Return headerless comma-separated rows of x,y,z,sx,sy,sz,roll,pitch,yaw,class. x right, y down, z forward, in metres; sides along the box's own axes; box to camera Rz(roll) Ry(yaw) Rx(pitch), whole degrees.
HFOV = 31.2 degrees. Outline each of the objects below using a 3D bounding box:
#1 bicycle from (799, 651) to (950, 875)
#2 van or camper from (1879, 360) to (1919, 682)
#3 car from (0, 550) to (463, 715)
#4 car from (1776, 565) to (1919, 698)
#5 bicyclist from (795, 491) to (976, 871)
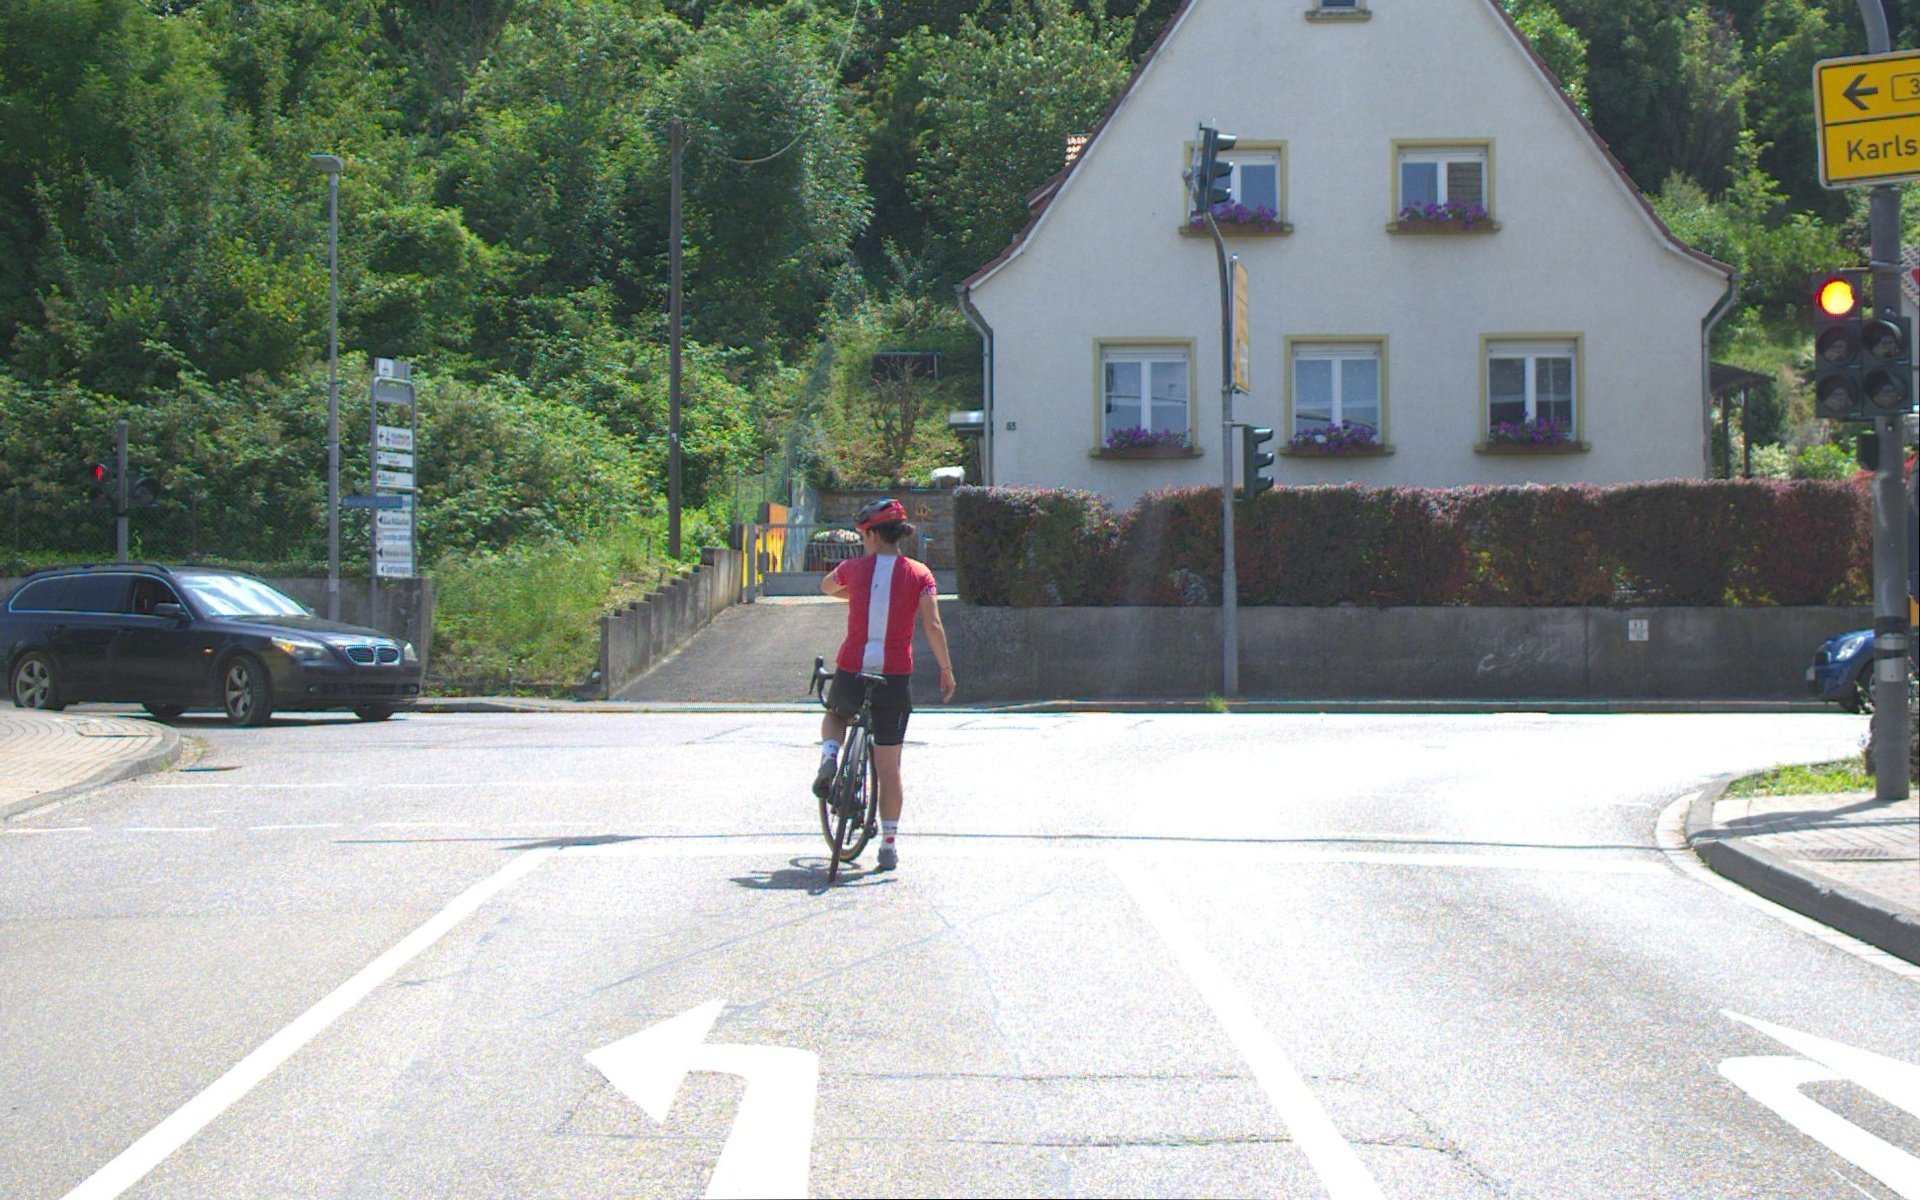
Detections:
-0.378,0.714,15.598,0.630,0.902,1.657,1,1,-1,bicycle
11.977,-0.729,32.668,5.994,2.994,2.218,0,0,7,van or camper
-7.097,0.302,32.473,4.664,1.437,1.866,-1,1,34,car
10.706,0.365,36.787,3.609,1.358,1.644,1,-2,3,car
-0.333,0.351,15.552,0.760,1.659,0.869,1,1,-1,bicyclist
